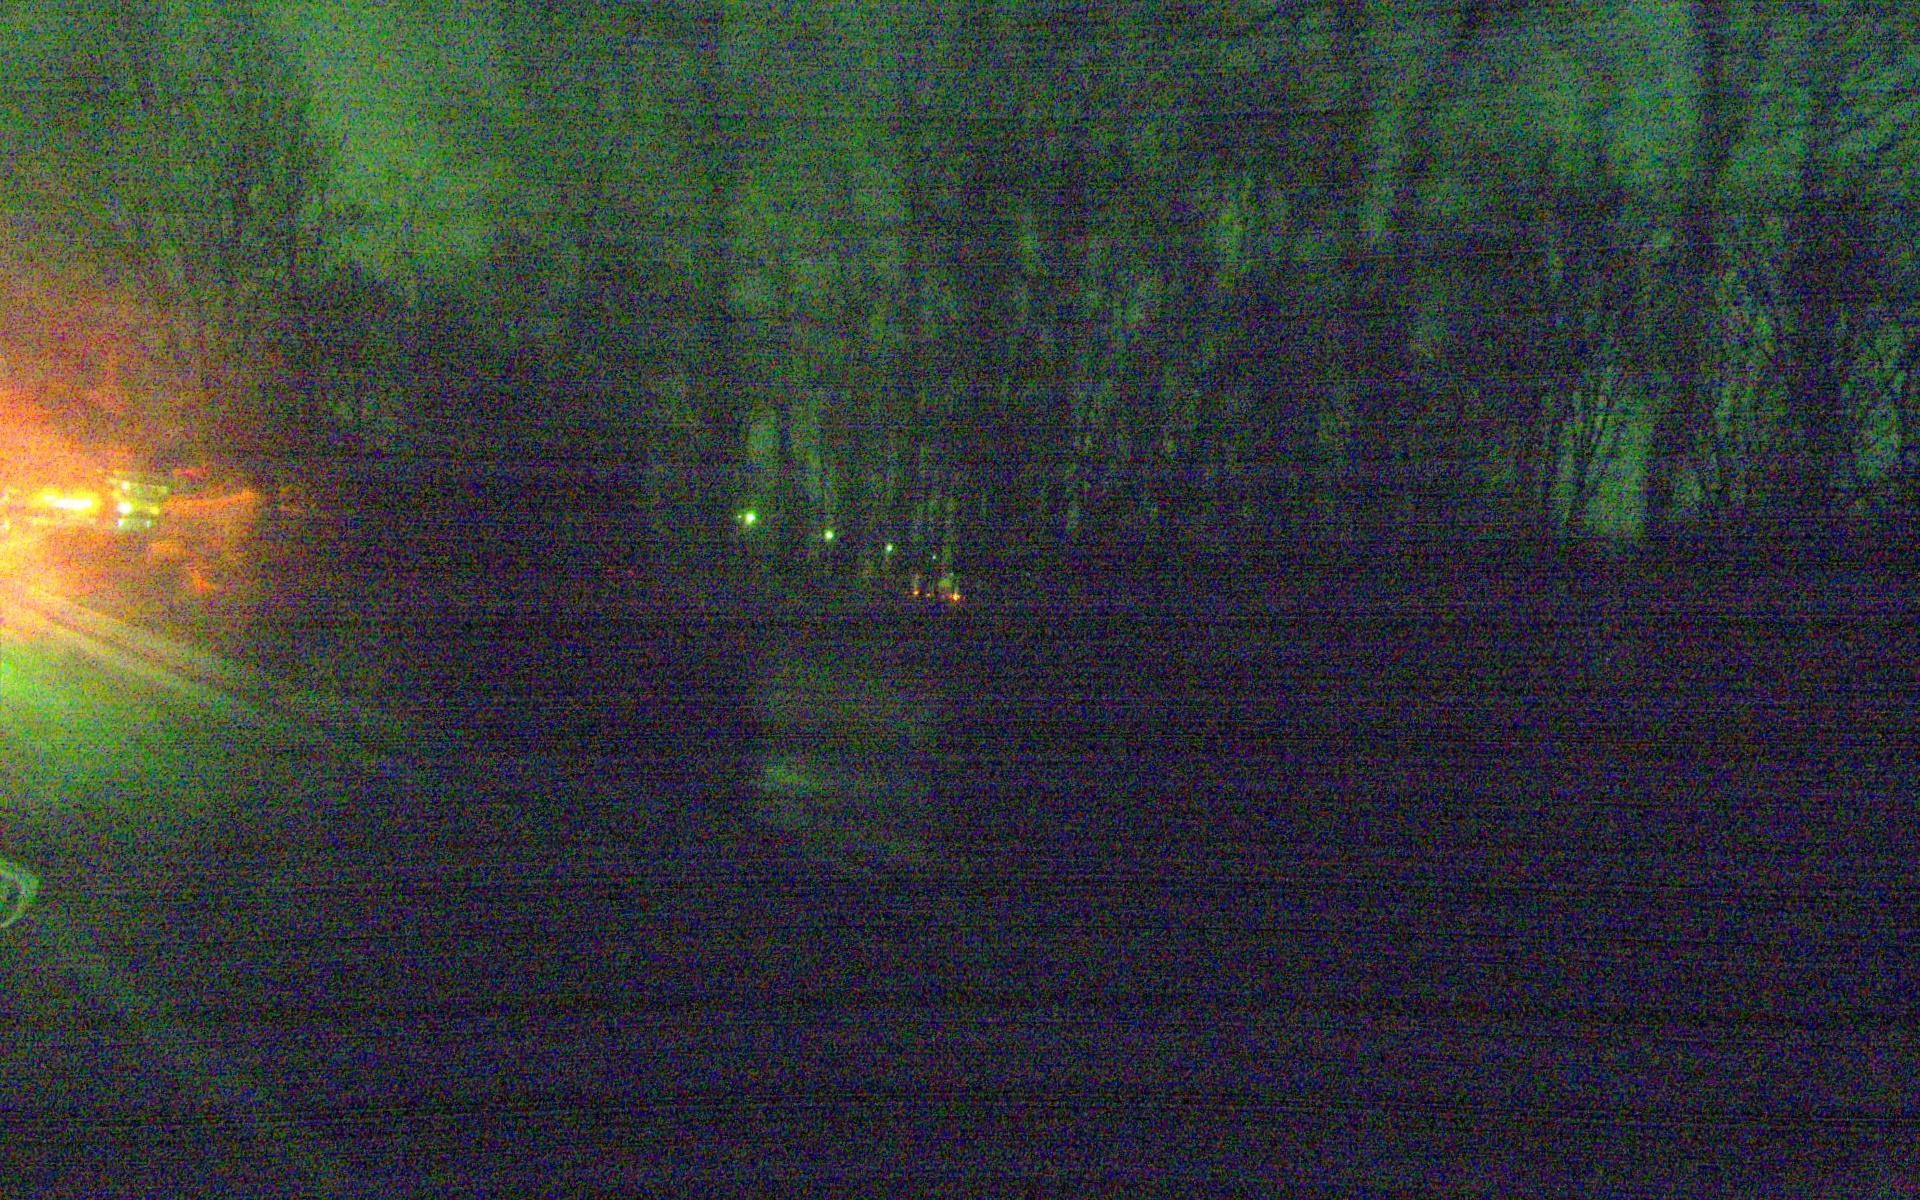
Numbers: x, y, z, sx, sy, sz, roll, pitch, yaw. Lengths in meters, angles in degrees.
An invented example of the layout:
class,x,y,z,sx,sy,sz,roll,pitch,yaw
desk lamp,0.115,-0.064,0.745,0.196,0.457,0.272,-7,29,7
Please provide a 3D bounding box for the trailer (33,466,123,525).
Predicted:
class,x,y,z,sx,sy,sz,roll,pitch,yaw
trailer,-40.422,-4.679,46.352,2.064,2.039,10.546,3,0,-36
